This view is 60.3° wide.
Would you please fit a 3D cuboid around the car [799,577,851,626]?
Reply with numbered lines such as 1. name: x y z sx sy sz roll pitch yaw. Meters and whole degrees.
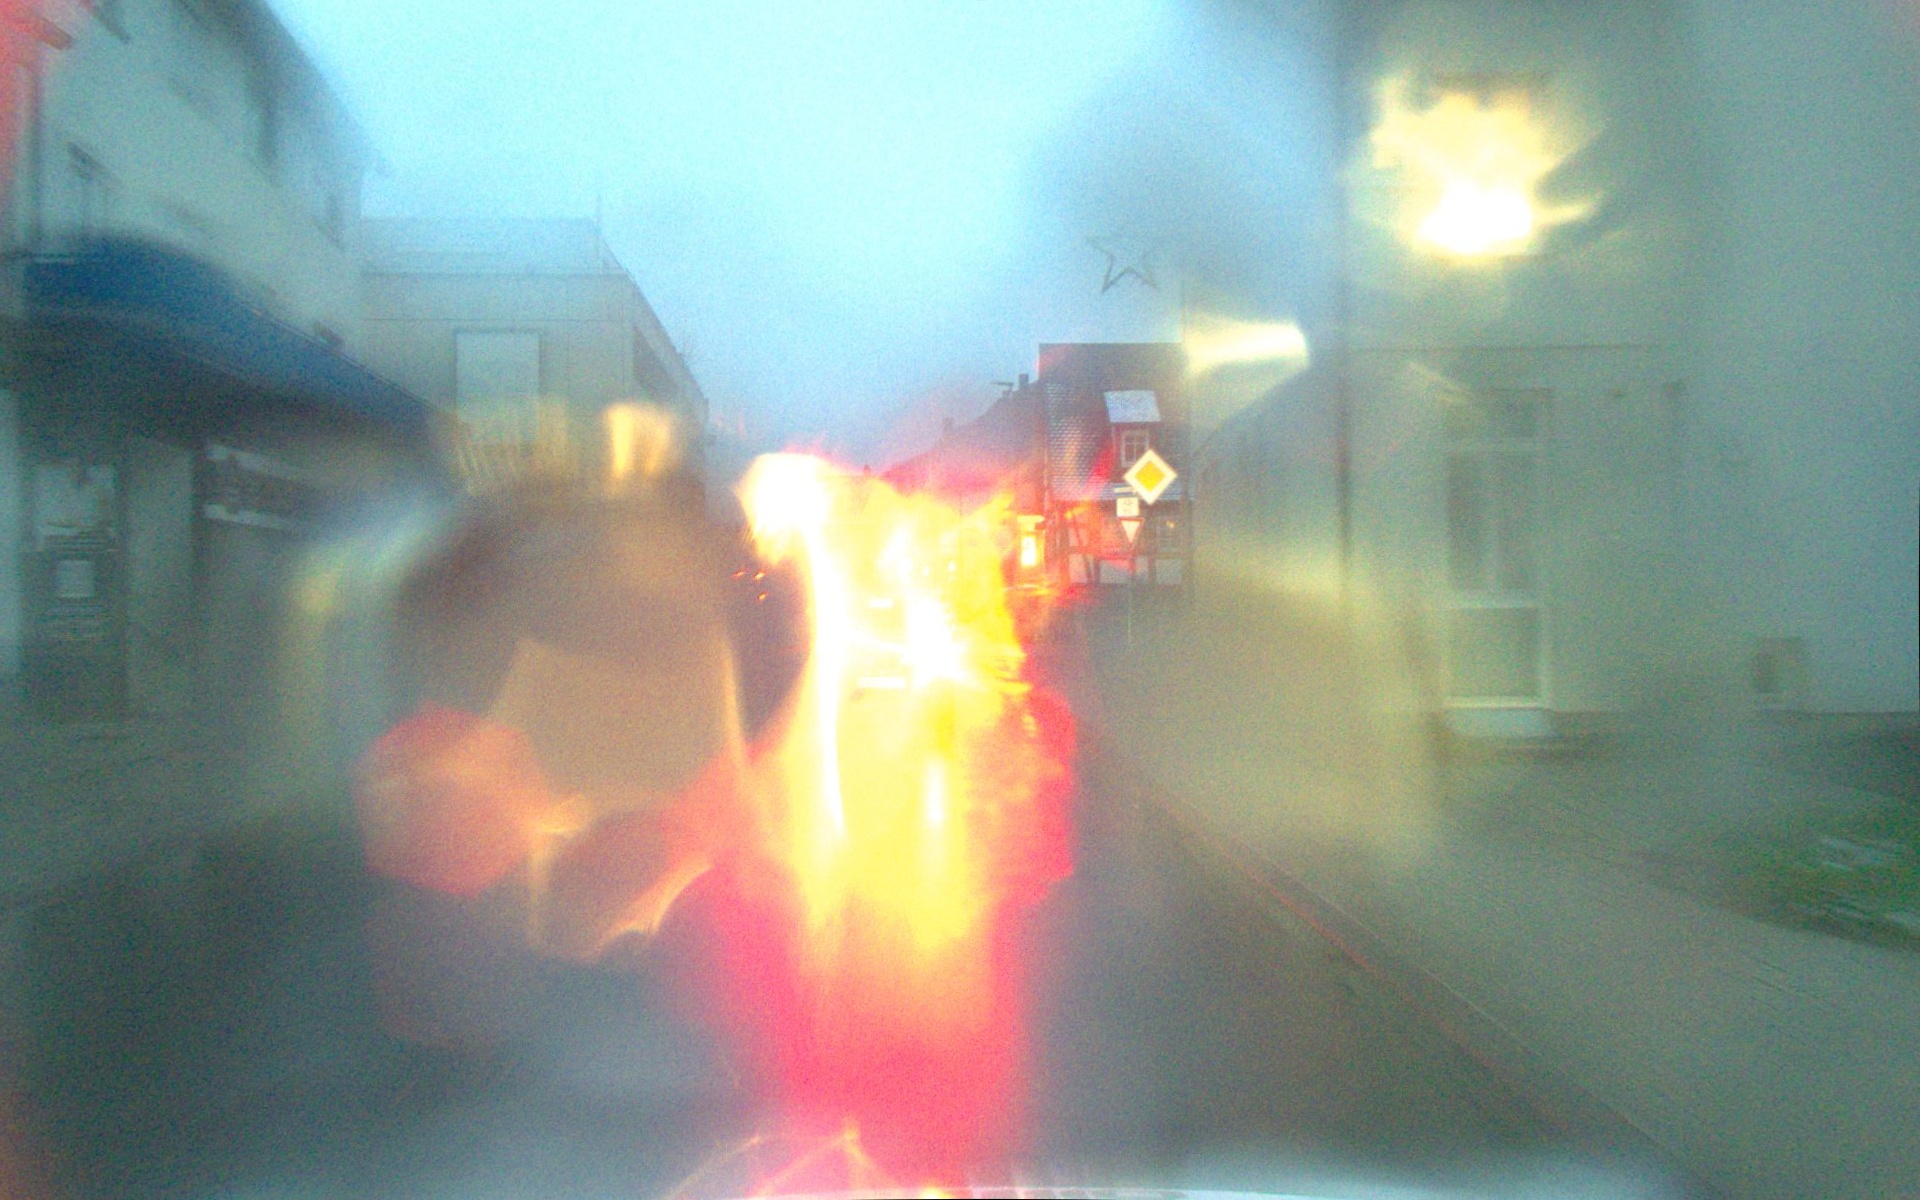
1. car: -4.323 0.058 53.001 1.606 1.507 3.375 1 0 -5

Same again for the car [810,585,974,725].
1. car: -0.768 0.570 19.499 1.734 1.473 3.726 -1 0 -1

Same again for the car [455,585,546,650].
1. car: -12.441 0.429 45.000 1.730 1.526 4.443 -1 2 -8

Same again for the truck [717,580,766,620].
1. truck: -18.103 -0.013 136.545 2.965 3.183 7.968 0 0 -15

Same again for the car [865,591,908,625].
1. car: -3.558 0.347 79.151 1.760 1.486 4.525 -3 0 -6

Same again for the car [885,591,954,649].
1. car: -1.196 0.547 47.307 1.698 1.484 3.996 -3 0 -5

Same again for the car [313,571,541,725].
1. car: -6.316 0.509 20.016 1.687 1.642 3.813 2 0 -4

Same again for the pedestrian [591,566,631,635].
1. pedestrian: -10.263 0.003 48.594 0.959 1.972 1.195 -1 1 -20
